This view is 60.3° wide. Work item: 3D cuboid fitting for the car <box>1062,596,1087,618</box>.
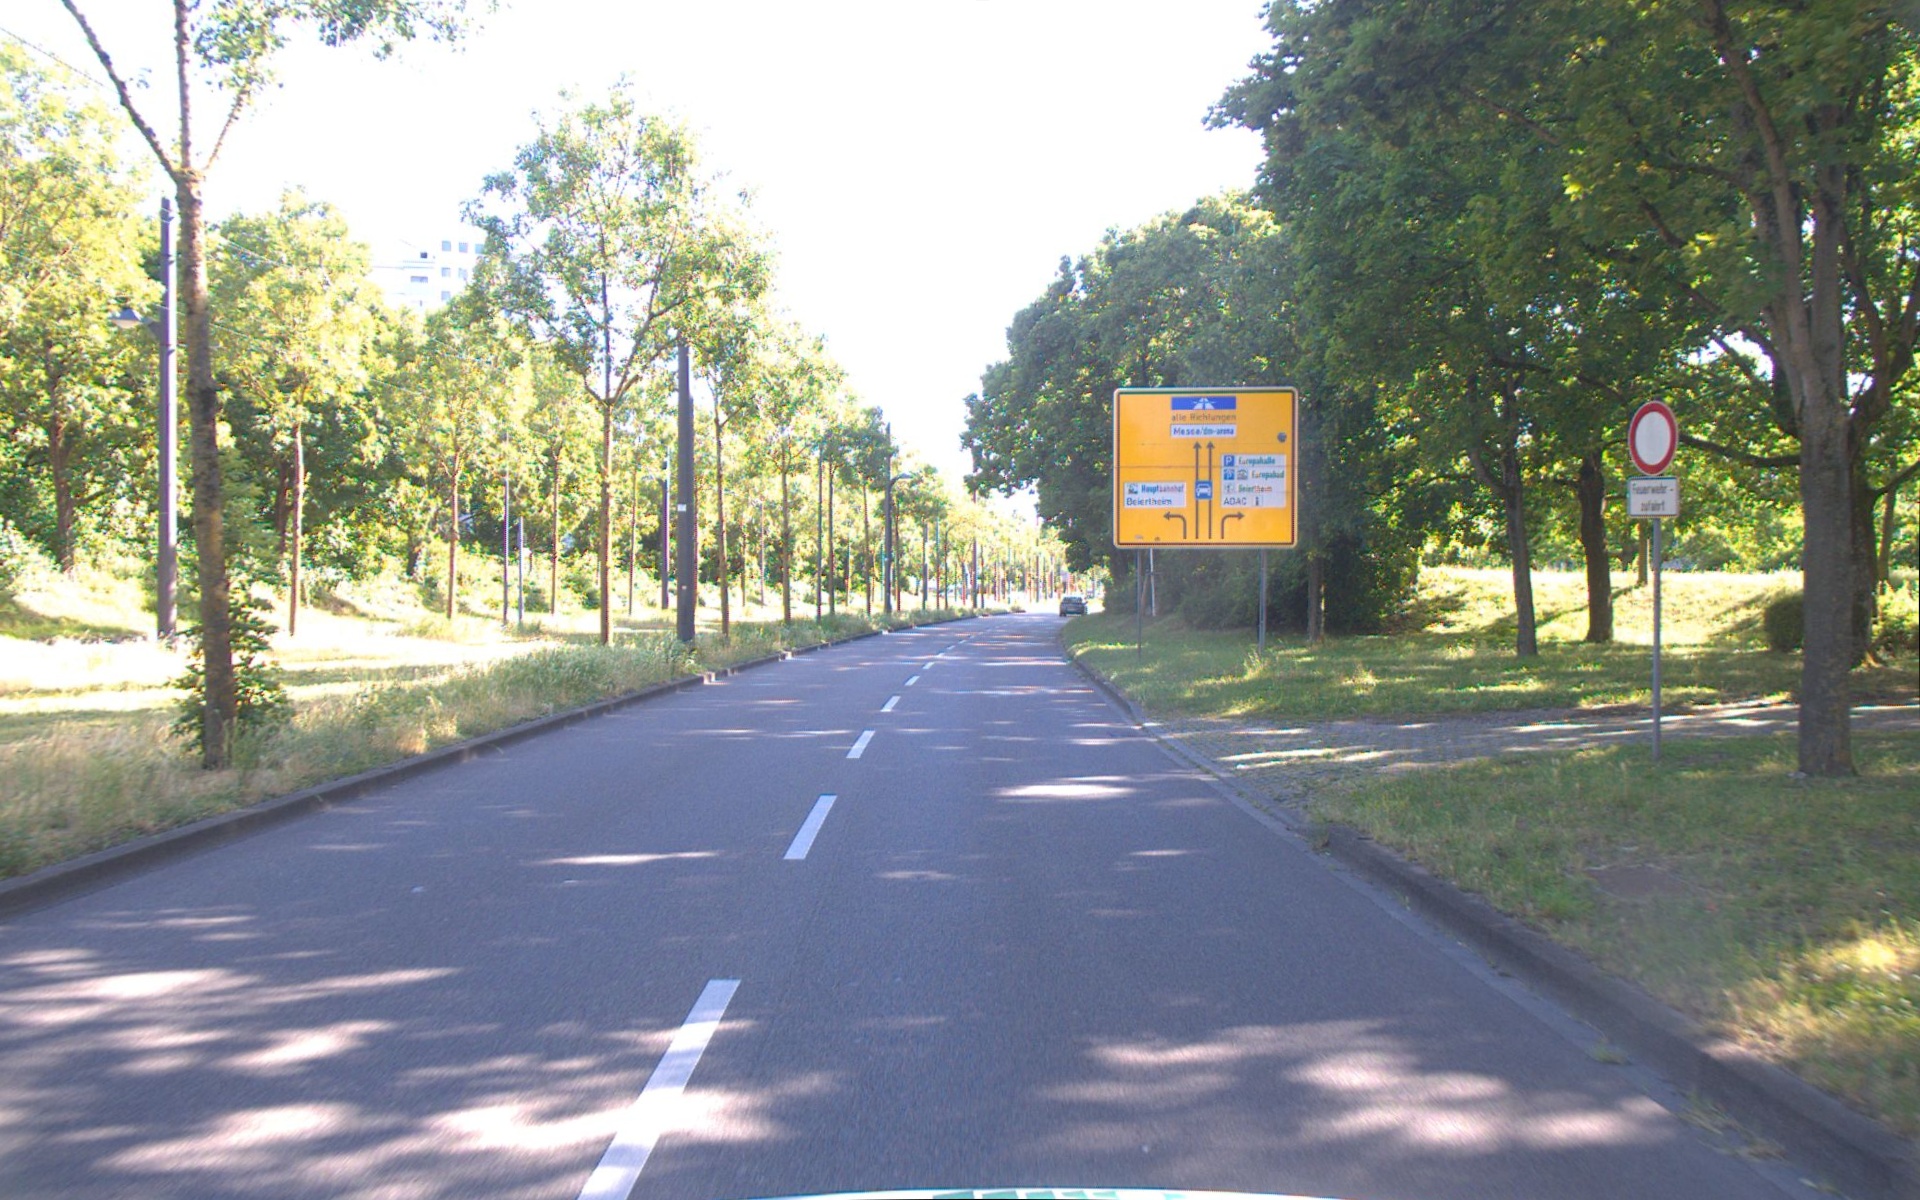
[{"bbox_3d":[8.089,0.478,116.602,1.599,1.524,4.237,1,0,6],"label":"car"}]
